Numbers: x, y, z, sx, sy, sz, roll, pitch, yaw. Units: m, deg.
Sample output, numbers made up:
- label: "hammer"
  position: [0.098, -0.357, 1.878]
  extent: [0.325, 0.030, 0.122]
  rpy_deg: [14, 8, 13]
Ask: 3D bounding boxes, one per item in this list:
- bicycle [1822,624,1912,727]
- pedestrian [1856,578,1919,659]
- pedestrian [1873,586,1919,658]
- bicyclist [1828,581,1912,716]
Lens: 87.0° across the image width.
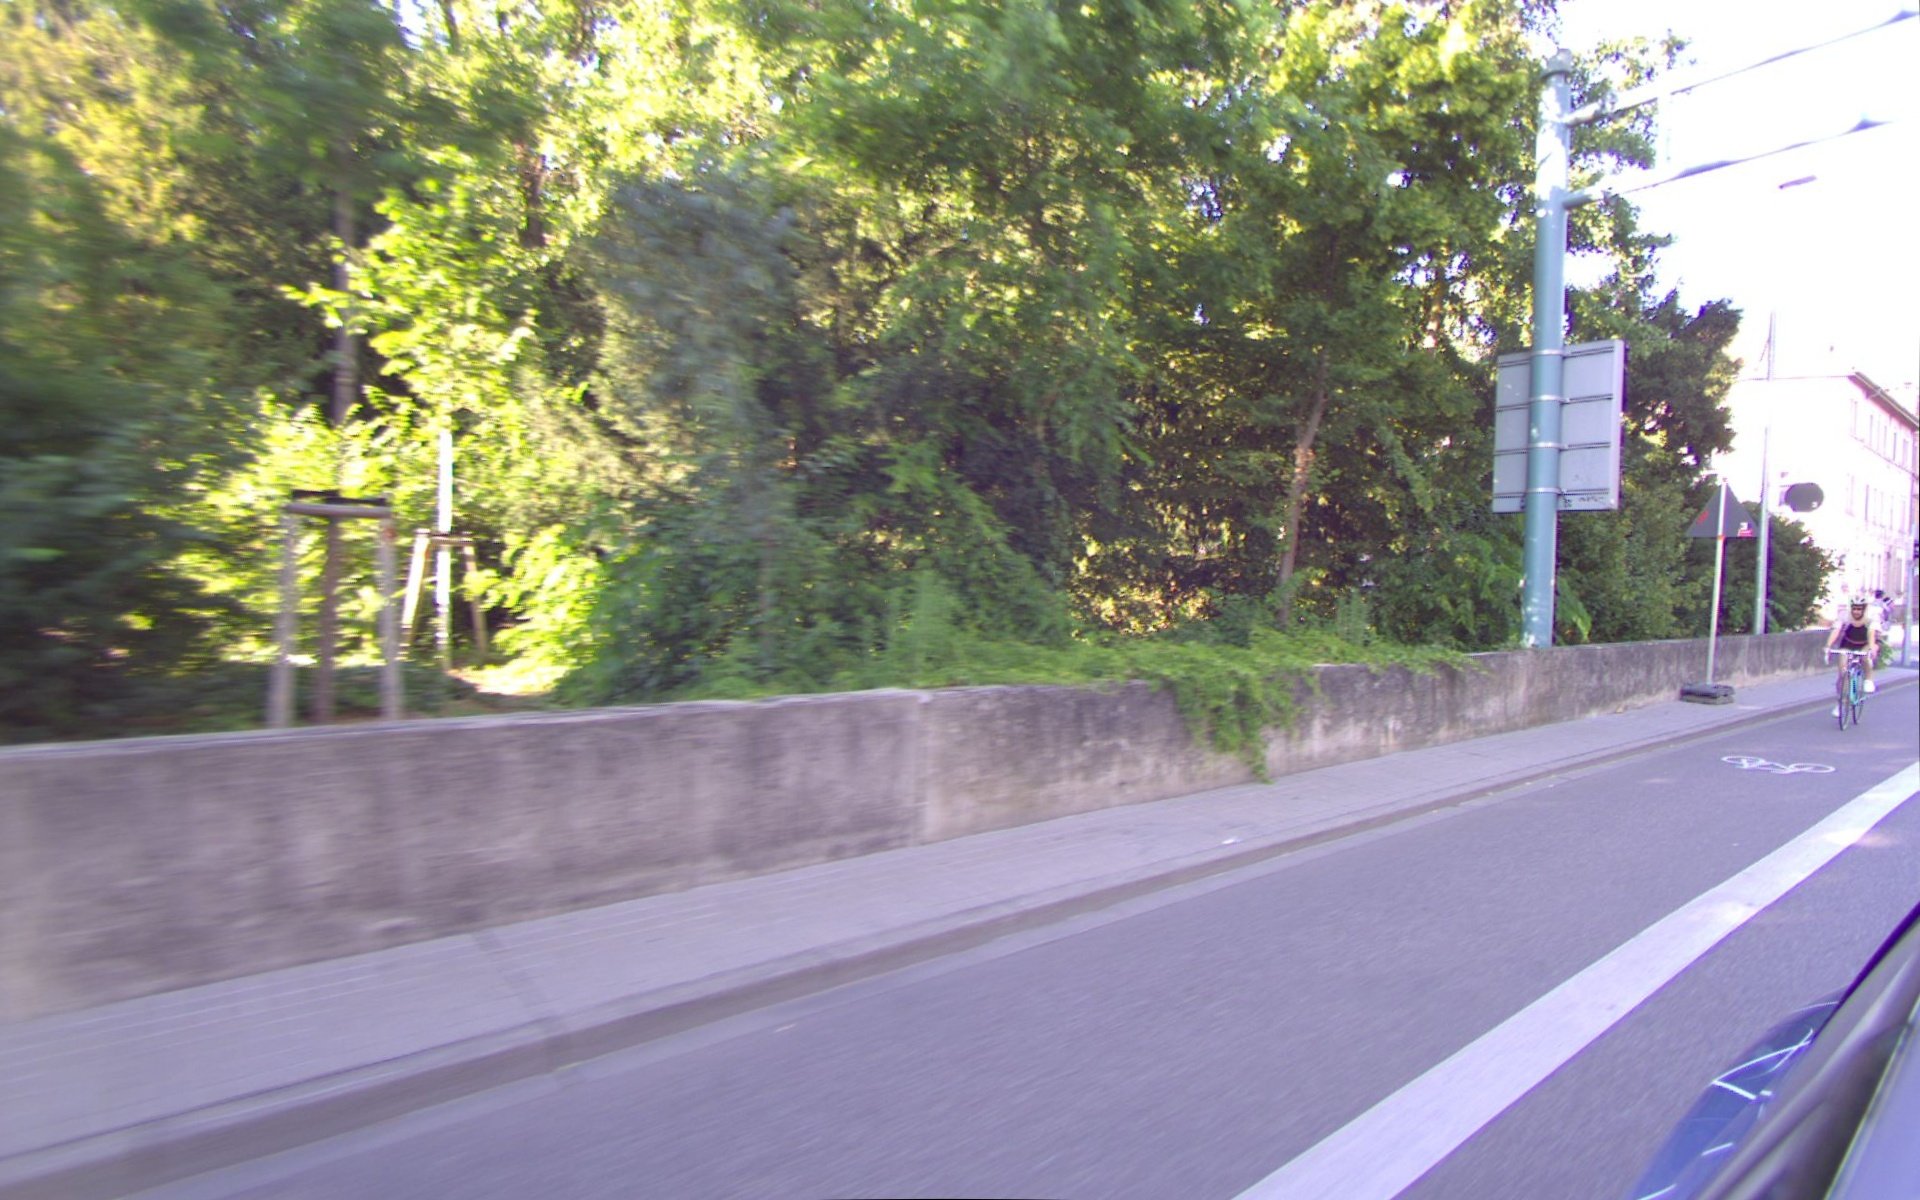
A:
- label: "bicycle"
  position: [10.746, 0.853, 11.974]
  extent: [1.810, 1.111, 0.521]
  rpy_deg: [0, -1, -40]
- label: "pedestrian"
  position: [22.269, 0.419, 24.186]
  extent: [0.847, 1.824, 0.903]
  rpy_deg: [3, 3, 16]
- label: "pedestrian"
  position: [22.848, 0.521, 24.666]
  extent: [0.766, 1.656, 0.758]
  rpy_deg: [5, 3, 41]
- label: "bicyclist"
  position: [10.780, 0.551, 11.980]
  extent: [1.062, 1.509, 0.553]
  rpy_deg: [1, 1, -40]
